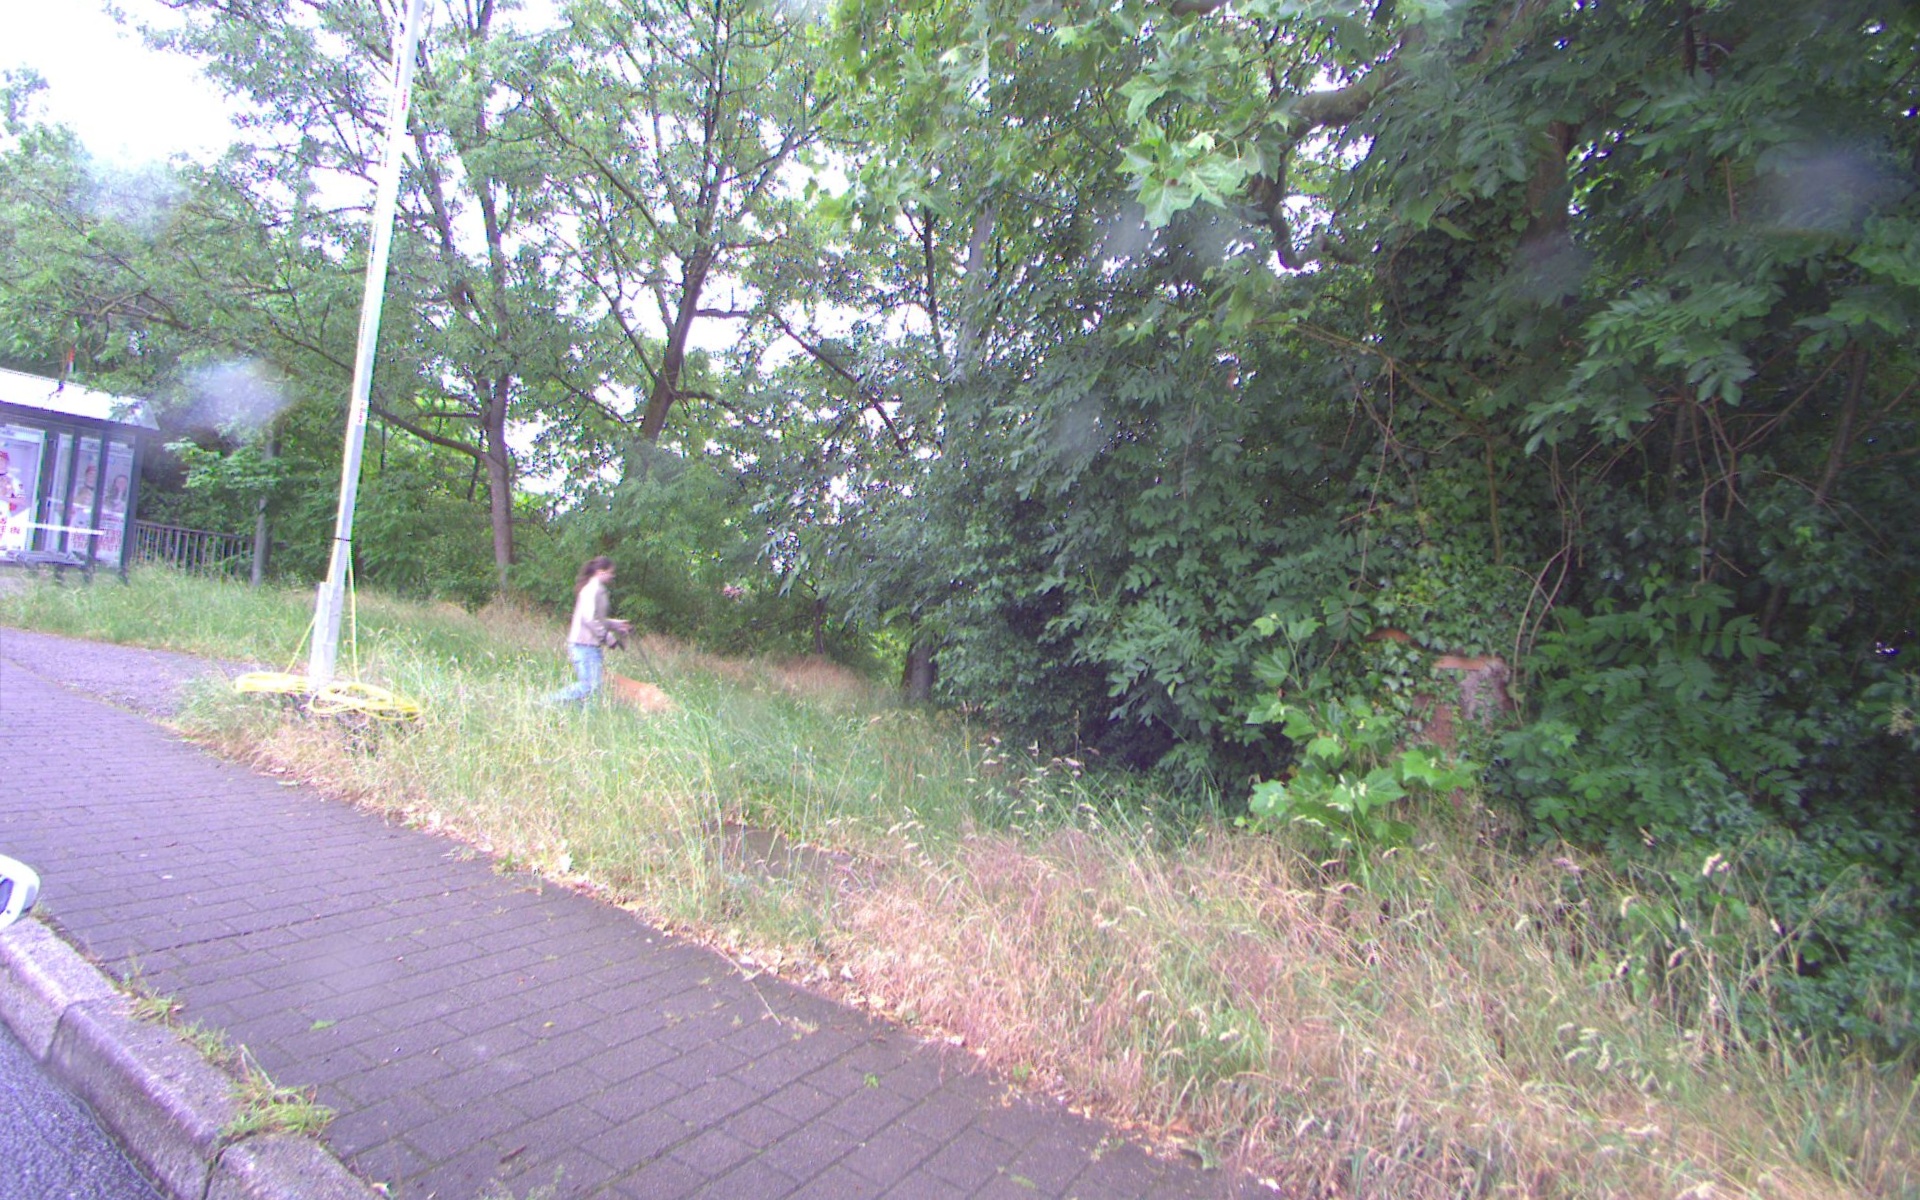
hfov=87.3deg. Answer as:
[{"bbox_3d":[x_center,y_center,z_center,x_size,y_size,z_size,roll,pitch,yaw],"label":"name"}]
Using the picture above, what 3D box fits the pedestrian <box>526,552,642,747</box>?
[{"bbox_3d":[-3.384,0.440,9.118,0.741,1.622,0.730,7,-1,-16],"label":"pedestrian"}]
